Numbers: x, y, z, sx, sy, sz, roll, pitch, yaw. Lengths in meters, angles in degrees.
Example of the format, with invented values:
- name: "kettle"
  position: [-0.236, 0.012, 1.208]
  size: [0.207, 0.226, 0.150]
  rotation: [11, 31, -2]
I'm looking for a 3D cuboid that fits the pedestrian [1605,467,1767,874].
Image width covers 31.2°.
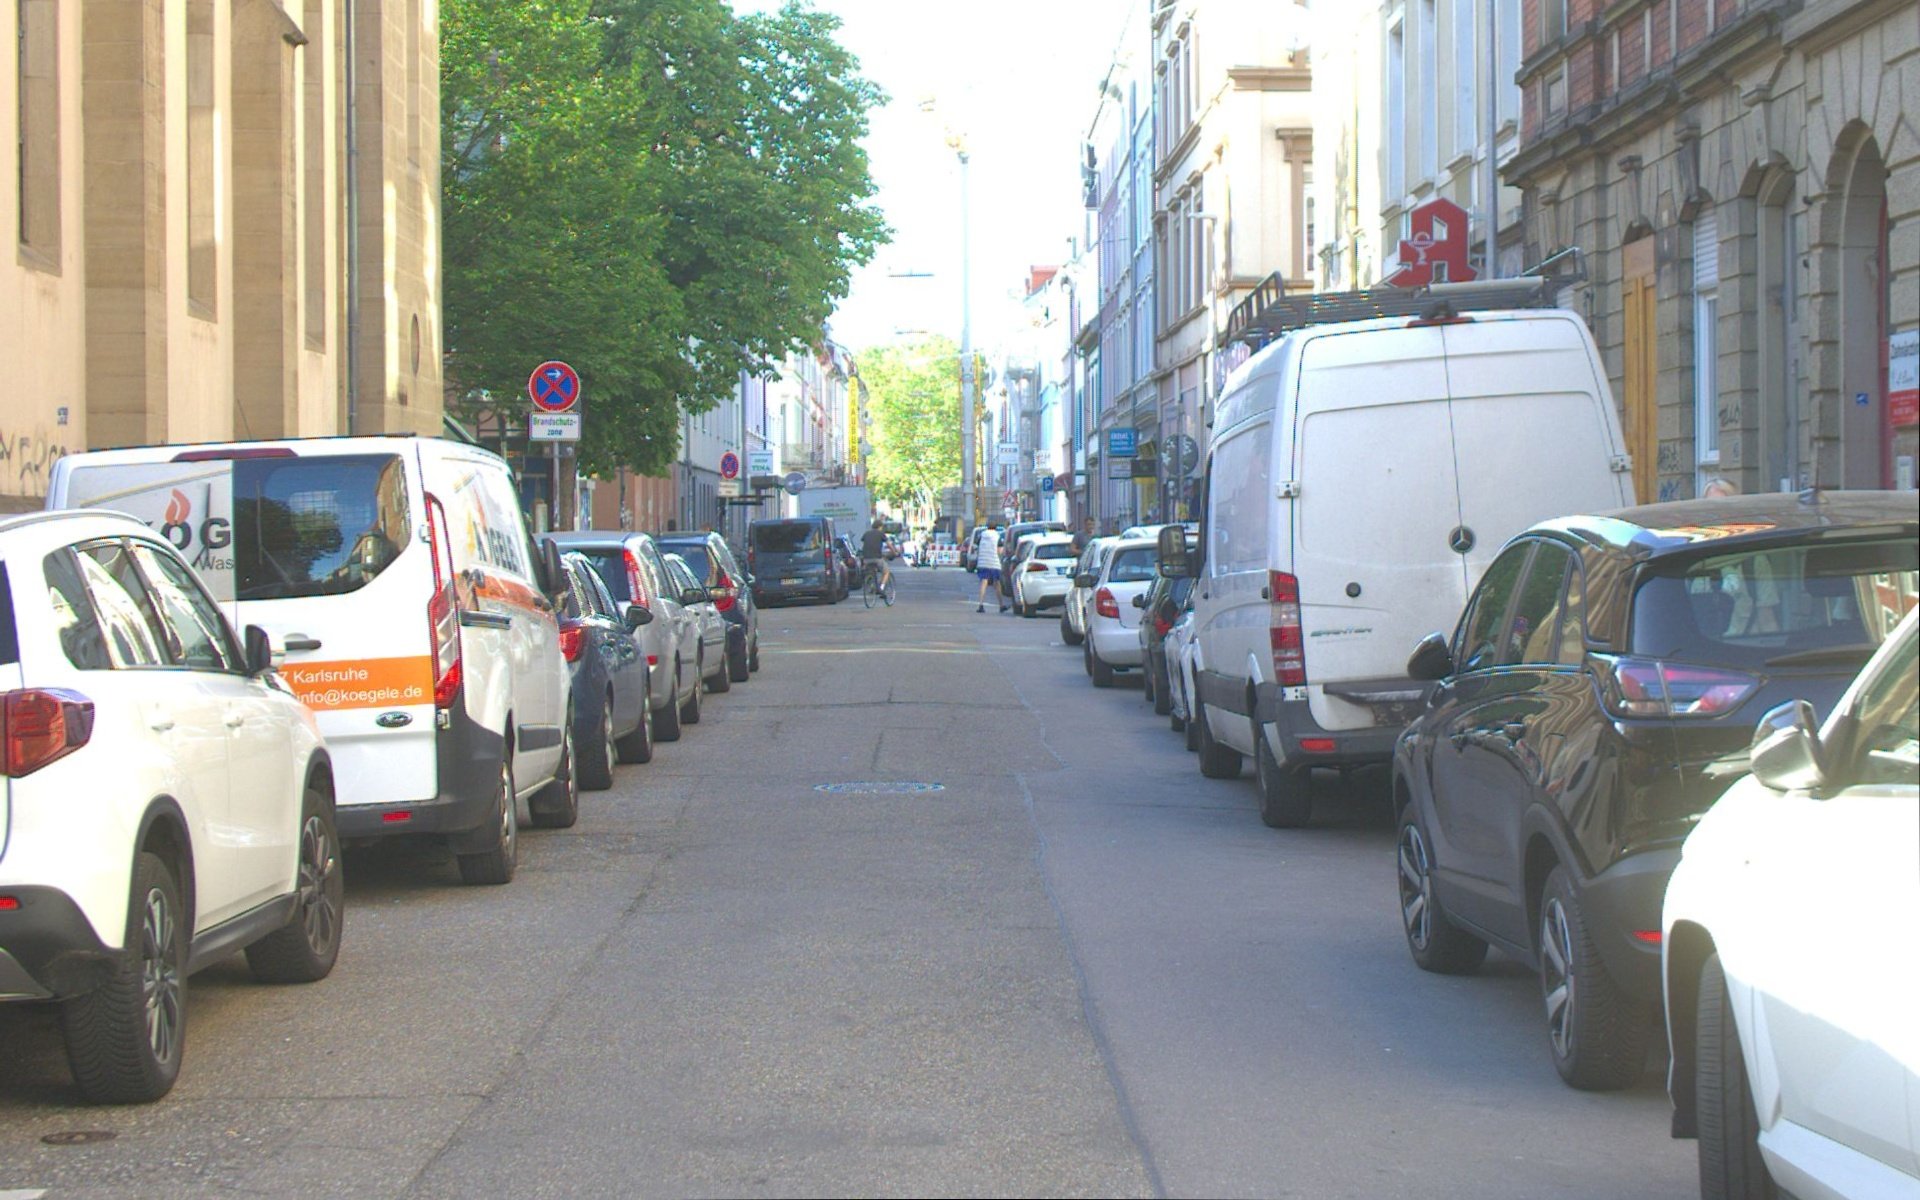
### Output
- name: "pedestrian"
  position: [3.255, 0.301, 15.381]
  size: [0.640, 1.766, 0.678]
  rotation: [1, 1, 15]

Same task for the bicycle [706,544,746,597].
- name: "bicycle"
  position: [-5.014, -0.634, 73.608]
  size: [0.644, 1.105, 1.605]
  rotation: [-1, 1, -11]

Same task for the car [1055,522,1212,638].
- name: "car"
  position: [2.295, -0.304, 46.330]
  size: [1.716, 1.483, 3.870]
  rotation: [-1, 1, -3]

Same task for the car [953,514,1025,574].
- name: "car"
  position: [0.822, -1.622, 98.797]
  size: [1.993, 1.626, 4.000]
  rotation: [2, 1, 0]

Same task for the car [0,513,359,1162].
- name: "car"
  position: [-3.009, 0.539, 10.299]
  size: [1.742, 1.581, 3.869]
  rotation: [0, 1, 0]

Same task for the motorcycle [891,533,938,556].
- name: "motorcycle"
  position: [-1.985, -2.420, 150.321]
  size: [1.042, 0.977, 2.825]
  rotation: [-1, 1, -23]

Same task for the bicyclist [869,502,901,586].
- name: "bicyclist"
  position: [-1.511, -1.129, 69.390]
  size: [0.605, 1.682, 0.885]
  rotation: [-1, 1, 0]

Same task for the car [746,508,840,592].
- name: "car"
  position: [-3.692, -1.125, 76.441]
  size: [1.875, 1.790, 4.000]
  rotation: [-1, 1, 0]

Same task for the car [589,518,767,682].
- name: "car"
  position: [-3.005, -0.039, 37.270]
  size: [1.600, 1.608, 3.809]
  rotation: [-3, 1, -1]

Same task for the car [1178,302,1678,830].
- name: "car"
  position: [2.493, -0.246, 19.899]
  size: [2.068, 2.602, 5.888]
  rotation: [0, 2, 0]

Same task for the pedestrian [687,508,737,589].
- name: "pedestrian"
  position: [-5.053, -1.051, 70.128]
  size: [0.929, 1.631, 0.806]
  rotation: [-1, 1, 1]

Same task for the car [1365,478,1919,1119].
- name: "car"
  position: [2.364, 0.461, 10.780]
  size: [1.687, 1.637, 3.925]
  rotation: [-1, 1, 0]

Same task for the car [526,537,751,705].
- name: "car"
  position: [-3.029, 0.157, 33.056]
  size: [1.570, 1.393, 3.808]
  rotation: [-4, 1, 2]

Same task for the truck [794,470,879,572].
- name: "truck"
  position: [-4.085, -2.628, 114.759]
  size: [2.532, 3.270, 6.995]
  rotation: [-1, 1, 0]

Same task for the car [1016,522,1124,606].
- name: "car"
  position: [2.031, -0.698, 64.455]
  size: [1.897, 1.483, 3.869]
  rotation: [-1, 1, 0]

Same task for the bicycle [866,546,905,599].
- name: "bicycle"
  position: [-1.501, -0.569, 69.460]
  size: [0.739, 1.040, 1.859]
  rotation: [-1, 1, 0]

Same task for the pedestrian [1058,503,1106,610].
- name: "pedestrian"
  position: [2.098, -0.753, 59.364]
  size: [0.681, 1.837, 0.695]
  rotation: [0, 1, -12]

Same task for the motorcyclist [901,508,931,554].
- name: "motorcyclist"
  position: [-1.917, -3.027, 150.184]
  size: [0.902, 2.007, 1.191]
  rotation: [-1, 1, -23]

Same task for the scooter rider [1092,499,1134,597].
- name: "scooter rider"
  position: [2.590, -0.885, 58.162]
  size: [0.650, 1.636, 0.683]
  rotation: [-1, 1, 6]

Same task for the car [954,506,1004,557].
- name: "car"
  position: [0.774, -2.812, 140.509]
  size: [1.993, 2.007, 4.000]
  rotation: [-1, 1, 0]

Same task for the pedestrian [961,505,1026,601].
- name: "pedestrian"
  position: [0.644, -0.910, 66.390]
  size: [0.785, 1.837, 1.009]
  rotation: [1, 2, 41]

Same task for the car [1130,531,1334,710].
- name: "car"
  position: [2.412, 0.140, 31.134]
  size: [1.570, 1.490, 3.653]
  rotation: [1, 1, 1]

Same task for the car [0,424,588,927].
- name: "car"
  position: [-2.930, 0.251, 16.122]
  size: [1.864, 1.950, 4.611]
  rotation: [-2, 1, -1]

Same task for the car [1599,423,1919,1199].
- name: "car"
  position: [2.321, 0.591, 5.471]
  size: [1.808, 1.684, 4.214]
  rotation: [1, 1, 0]

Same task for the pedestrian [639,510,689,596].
- name: "pedestrian"
  position: [-6.176, -0.987, 71.768]
  size: [0.929, 1.780, 0.806]
  rotation: [-1, 1, 1]

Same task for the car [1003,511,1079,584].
- name: "car"
  position: [1.977, -1.320, 84.910]
  size: [1.769, 1.735, 4.000]
  rotation: [-1, 2, 0]

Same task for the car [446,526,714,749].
- name: "car"
  position: [-2.873, 0.227, 26.719]
  size: [1.673, 1.553, 4.000]
  rotation: [-2, 1, -1]

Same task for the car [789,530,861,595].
- name: "car"
  position: [-3.841, -1.088, 98.199]
  size: [1.875, 1.790, 4.000]
  rotation: [-1, 1, 0]

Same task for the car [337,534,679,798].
- name: "car"
  position: [-2.779, 0.343, 21.900]
  size: [1.615, 1.447, 3.950]
  rotation: [-2, 1, 0]

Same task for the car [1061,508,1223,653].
- name: "car"
  position: [2.146, -0.273, 41.393]
  size: [1.716, 1.640, 4.000]
  rotation: [-1, 1, 0]

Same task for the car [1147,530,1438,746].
- name: "car"
  position: [2.464, 0.224, 26.419]
  size: [1.779, 1.481, 4.360]
  rotation: [1, 1, 0]

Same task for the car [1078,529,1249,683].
- name: "car"
  position: [2.087, 0.016, 36.041]
  size: [1.603, 1.499, 4.000]
  rotation: [1, 1, 1]
